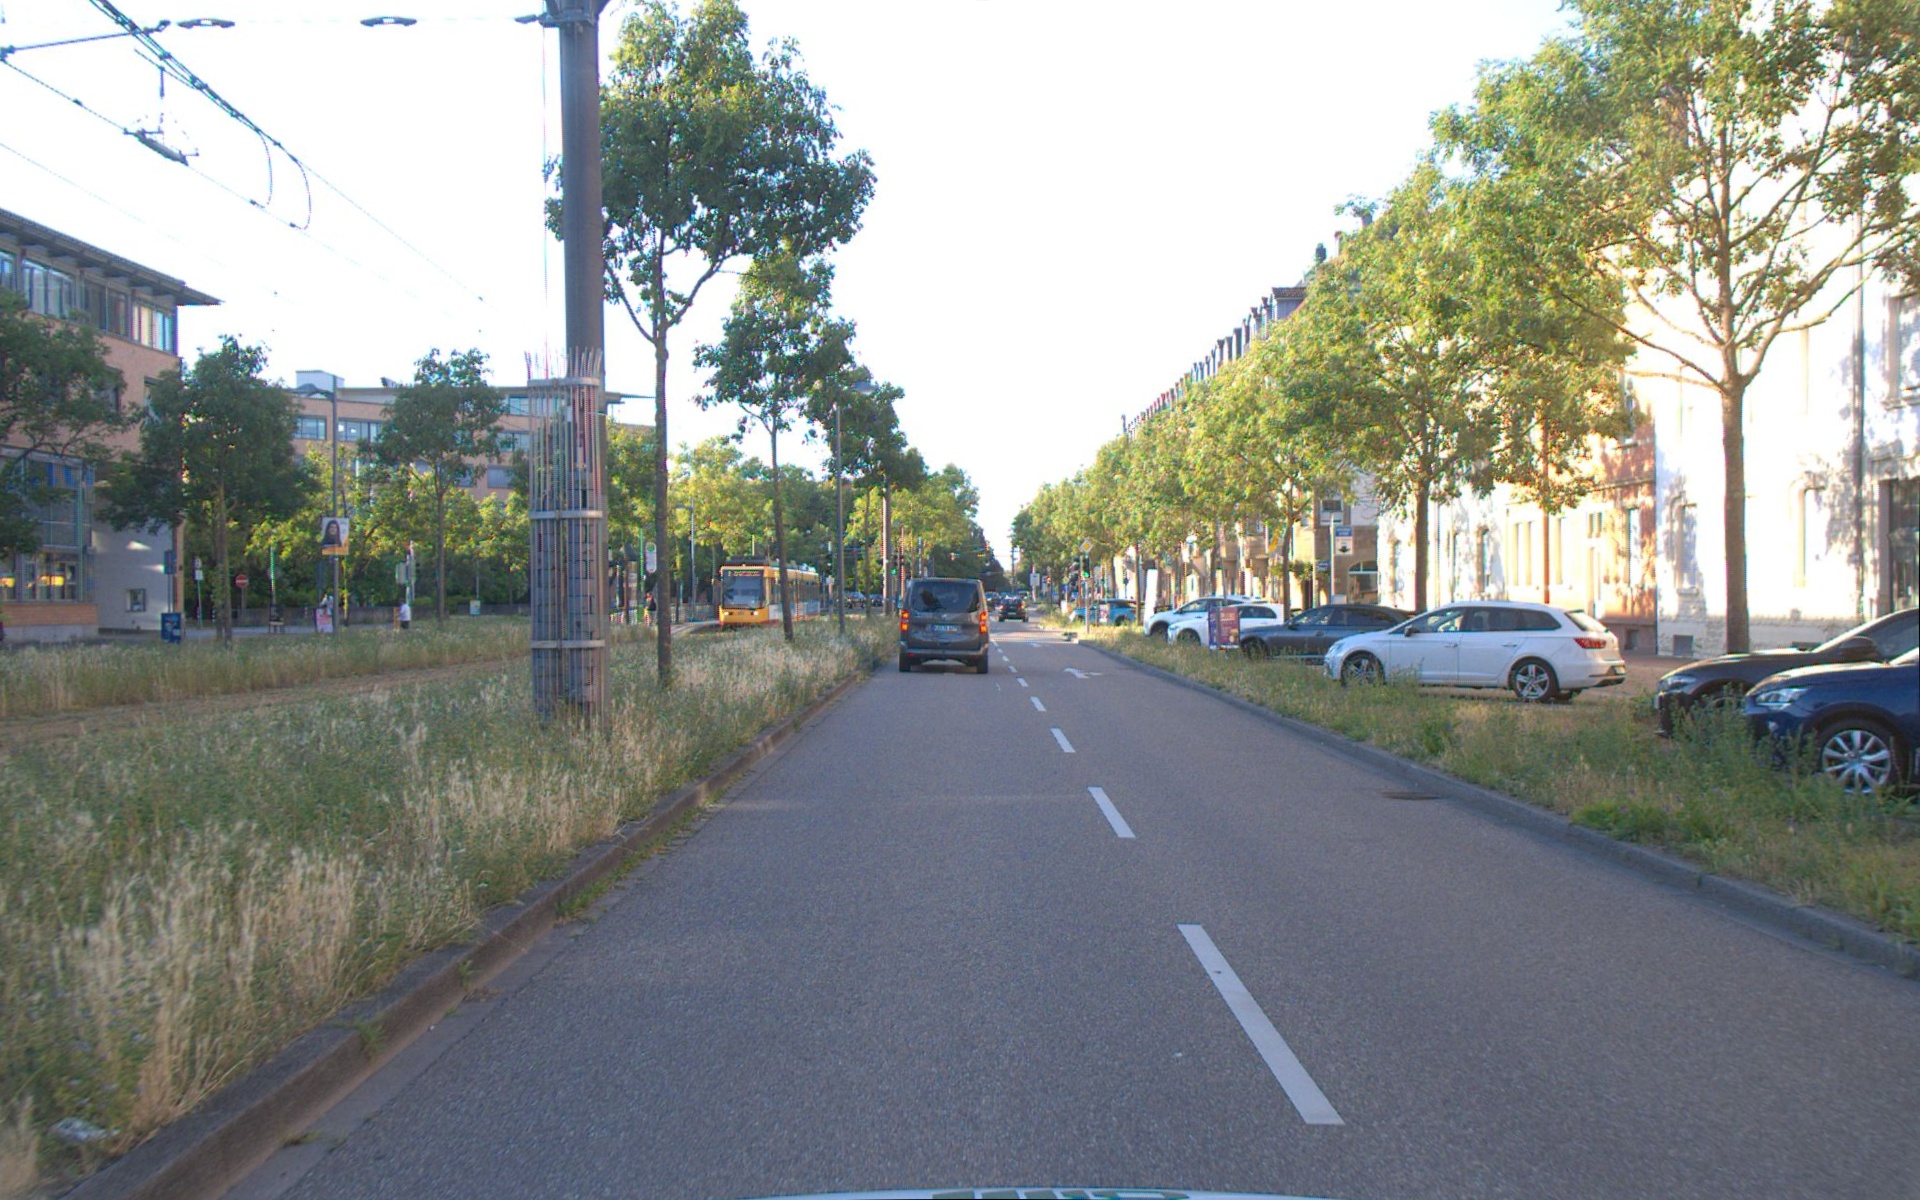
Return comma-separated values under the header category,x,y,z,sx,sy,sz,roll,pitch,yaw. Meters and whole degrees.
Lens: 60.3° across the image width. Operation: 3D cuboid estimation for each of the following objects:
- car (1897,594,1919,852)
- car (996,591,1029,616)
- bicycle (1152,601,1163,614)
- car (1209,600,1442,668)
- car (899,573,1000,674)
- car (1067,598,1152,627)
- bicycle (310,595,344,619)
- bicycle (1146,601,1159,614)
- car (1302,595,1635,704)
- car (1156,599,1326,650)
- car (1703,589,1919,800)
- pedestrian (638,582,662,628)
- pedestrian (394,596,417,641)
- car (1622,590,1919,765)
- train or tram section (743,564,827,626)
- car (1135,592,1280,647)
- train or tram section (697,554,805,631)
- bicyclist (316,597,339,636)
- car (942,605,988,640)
category,x,y,z,sx,sy,sz,roll,pitch,yaw
car,7.636,0.717,8.998,4.342,1.448,1.918,1,1,32
car,3.269,0.197,103.501,1.953,1.537,4.000,1,0,0
bicycle,15.288,0.565,127.913,0.718,0.964,2.340,-2,0,4
car,7.764,0.695,35.253,4.487,1.372,1.891,0,0,33
car,-0.172,0.454,34.716,1.952,1.934,4.299,1,0,1
car,7.992,0.656,88.792,4.197,1.548,1.842,0,0,33
bicycle,-28.130,0.312,73.583,0.695,1.070,2.094,0,0,0
bicycle,15.174,0.577,130.470,0.854,0.932,2.085,-2,0,2
car,7.735,0.701,25.350,4.553,1.536,1.840,0,0,36
car,8.169,0.699,48.150,4.457,1.424,2.026,0,-1,31
car,7.609,0.671,11.963,3.962,1.462,1.724,0,-1,29
pedestrian,-13.883,0.206,74.071,0.915,2.049,0.957,0,0,0
pedestrian,-21.760,0.724,64.907,0.675,1.727,0.828,0,0,-8
car,8.387,0.650,14.670,4.348,1.441,1.878,1,1,37
train or tram section,-10.081,-0.266,96.913,3.360,3.398,13.857,0,0,0
car,8.077,0.603,54.173,4.343,1.721,1.909,0,0,36
train or tram section,-10.179,-0.346,82.409,3.360,3.490,15.027,0,0,0
bicyclist,-28.128,0.727,73.581,0.681,1.703,0.825,0,0,0
car,0.204,1.010,76.713,1.953,1.537,3.998,1,0,-2
